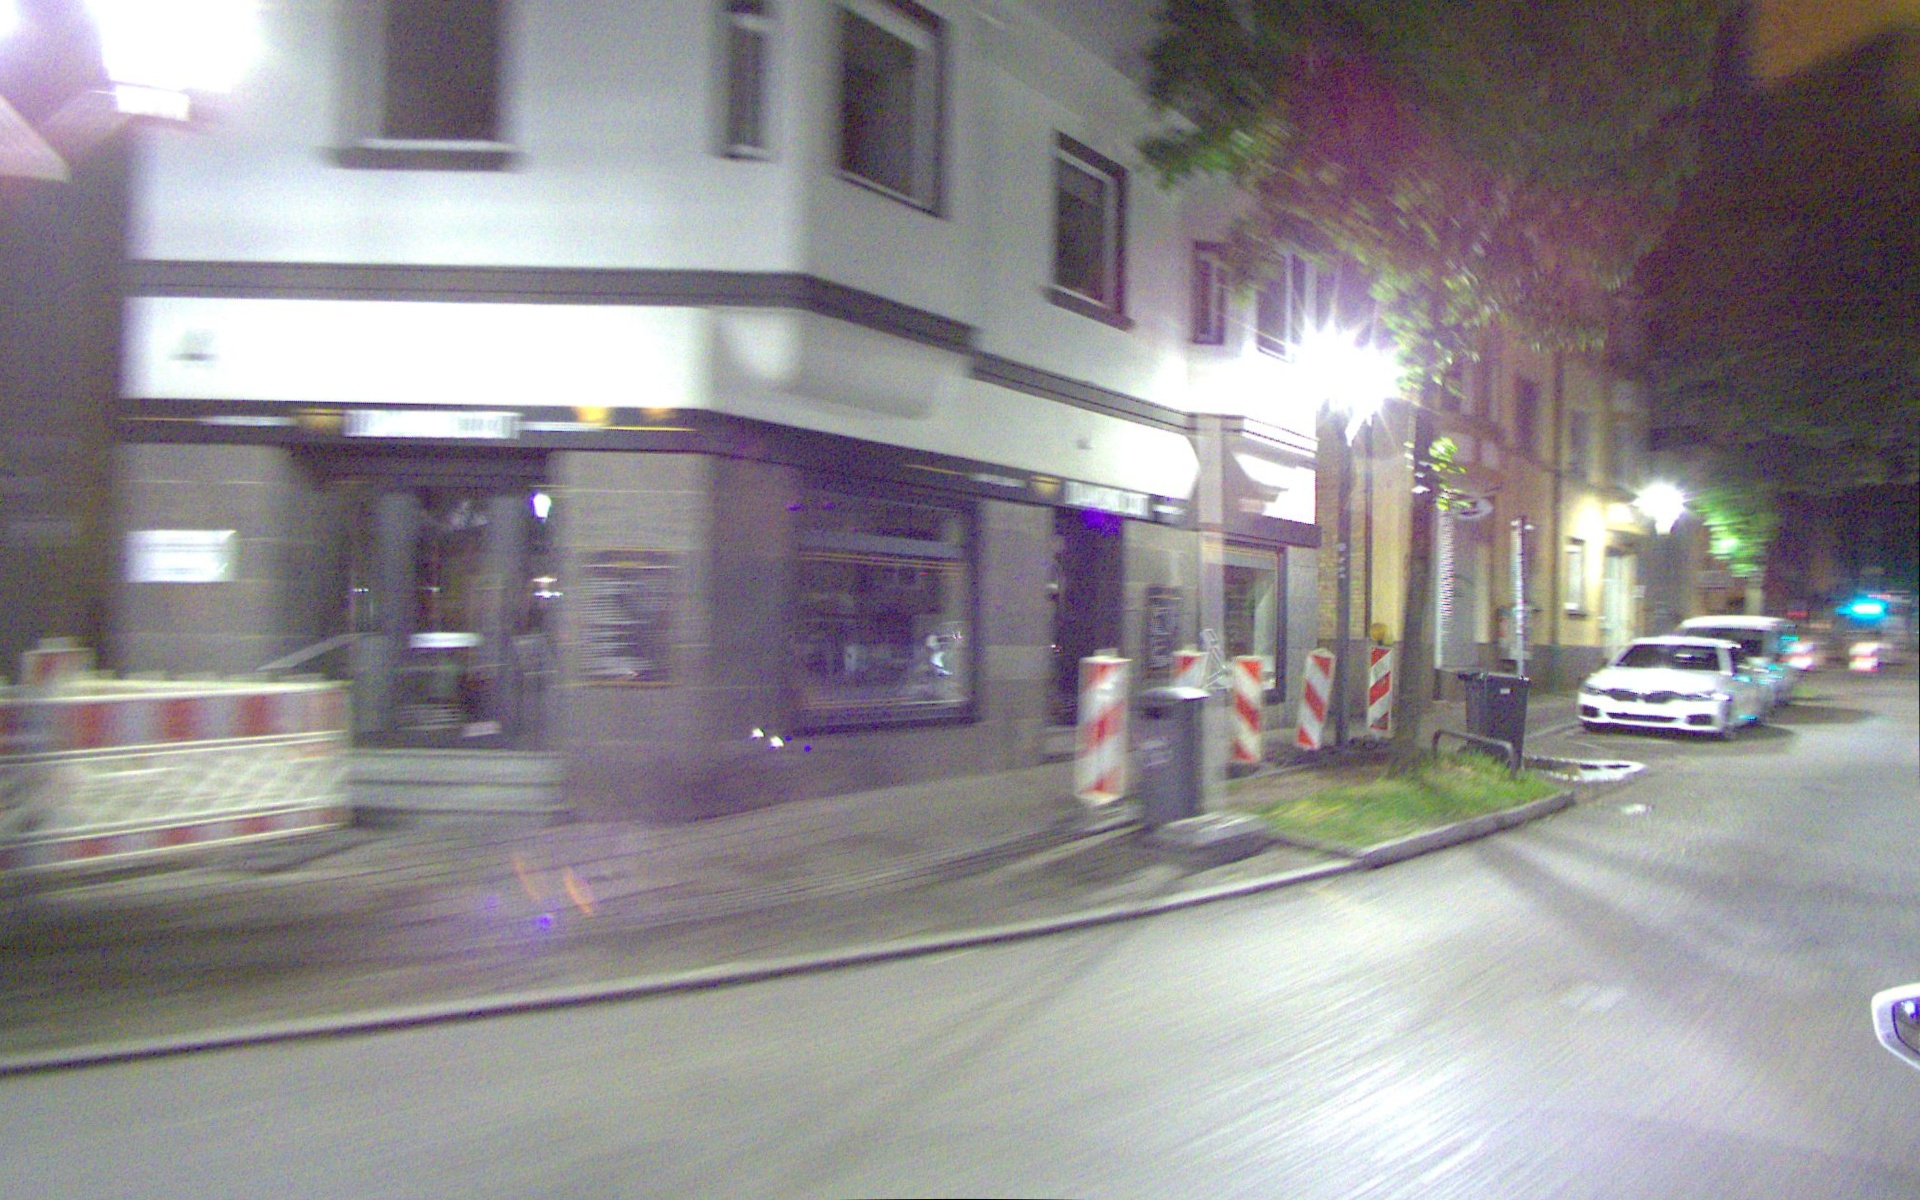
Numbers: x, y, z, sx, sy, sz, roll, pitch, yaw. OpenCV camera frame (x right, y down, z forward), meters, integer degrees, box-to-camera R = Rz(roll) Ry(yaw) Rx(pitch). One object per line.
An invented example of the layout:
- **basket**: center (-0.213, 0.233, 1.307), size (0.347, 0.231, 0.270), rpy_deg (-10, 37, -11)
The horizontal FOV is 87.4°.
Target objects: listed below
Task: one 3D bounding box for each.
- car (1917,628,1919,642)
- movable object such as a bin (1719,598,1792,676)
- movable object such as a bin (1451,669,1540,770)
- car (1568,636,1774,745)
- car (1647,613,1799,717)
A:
- **car**: center (104.857, 3.815, 108.787), size (4.177, 1.463, 1.654), rpy_deg (1, 0, -45)
- **movable object such as a bin**: center (28.992, 1.333, 36.568), size (3.882, 2.661, 1.556), rpy_deg (2, -2, -43)
- **movable object such as a bin**: center (6.109, 1.347, 11.490), size (0.675, 1.063, 0.626), rpy_deg (2, -1, 6)
- **car**: center (11.722, 1.369, 16.411), size (4.847, 1.469, 1.821), rpy_deg (2, -1, -43)
- **car**: center (15.704, 1.244, 20.562), size (1.864, 1.868, 4.784), rpy_deg (1, -1, 45)
